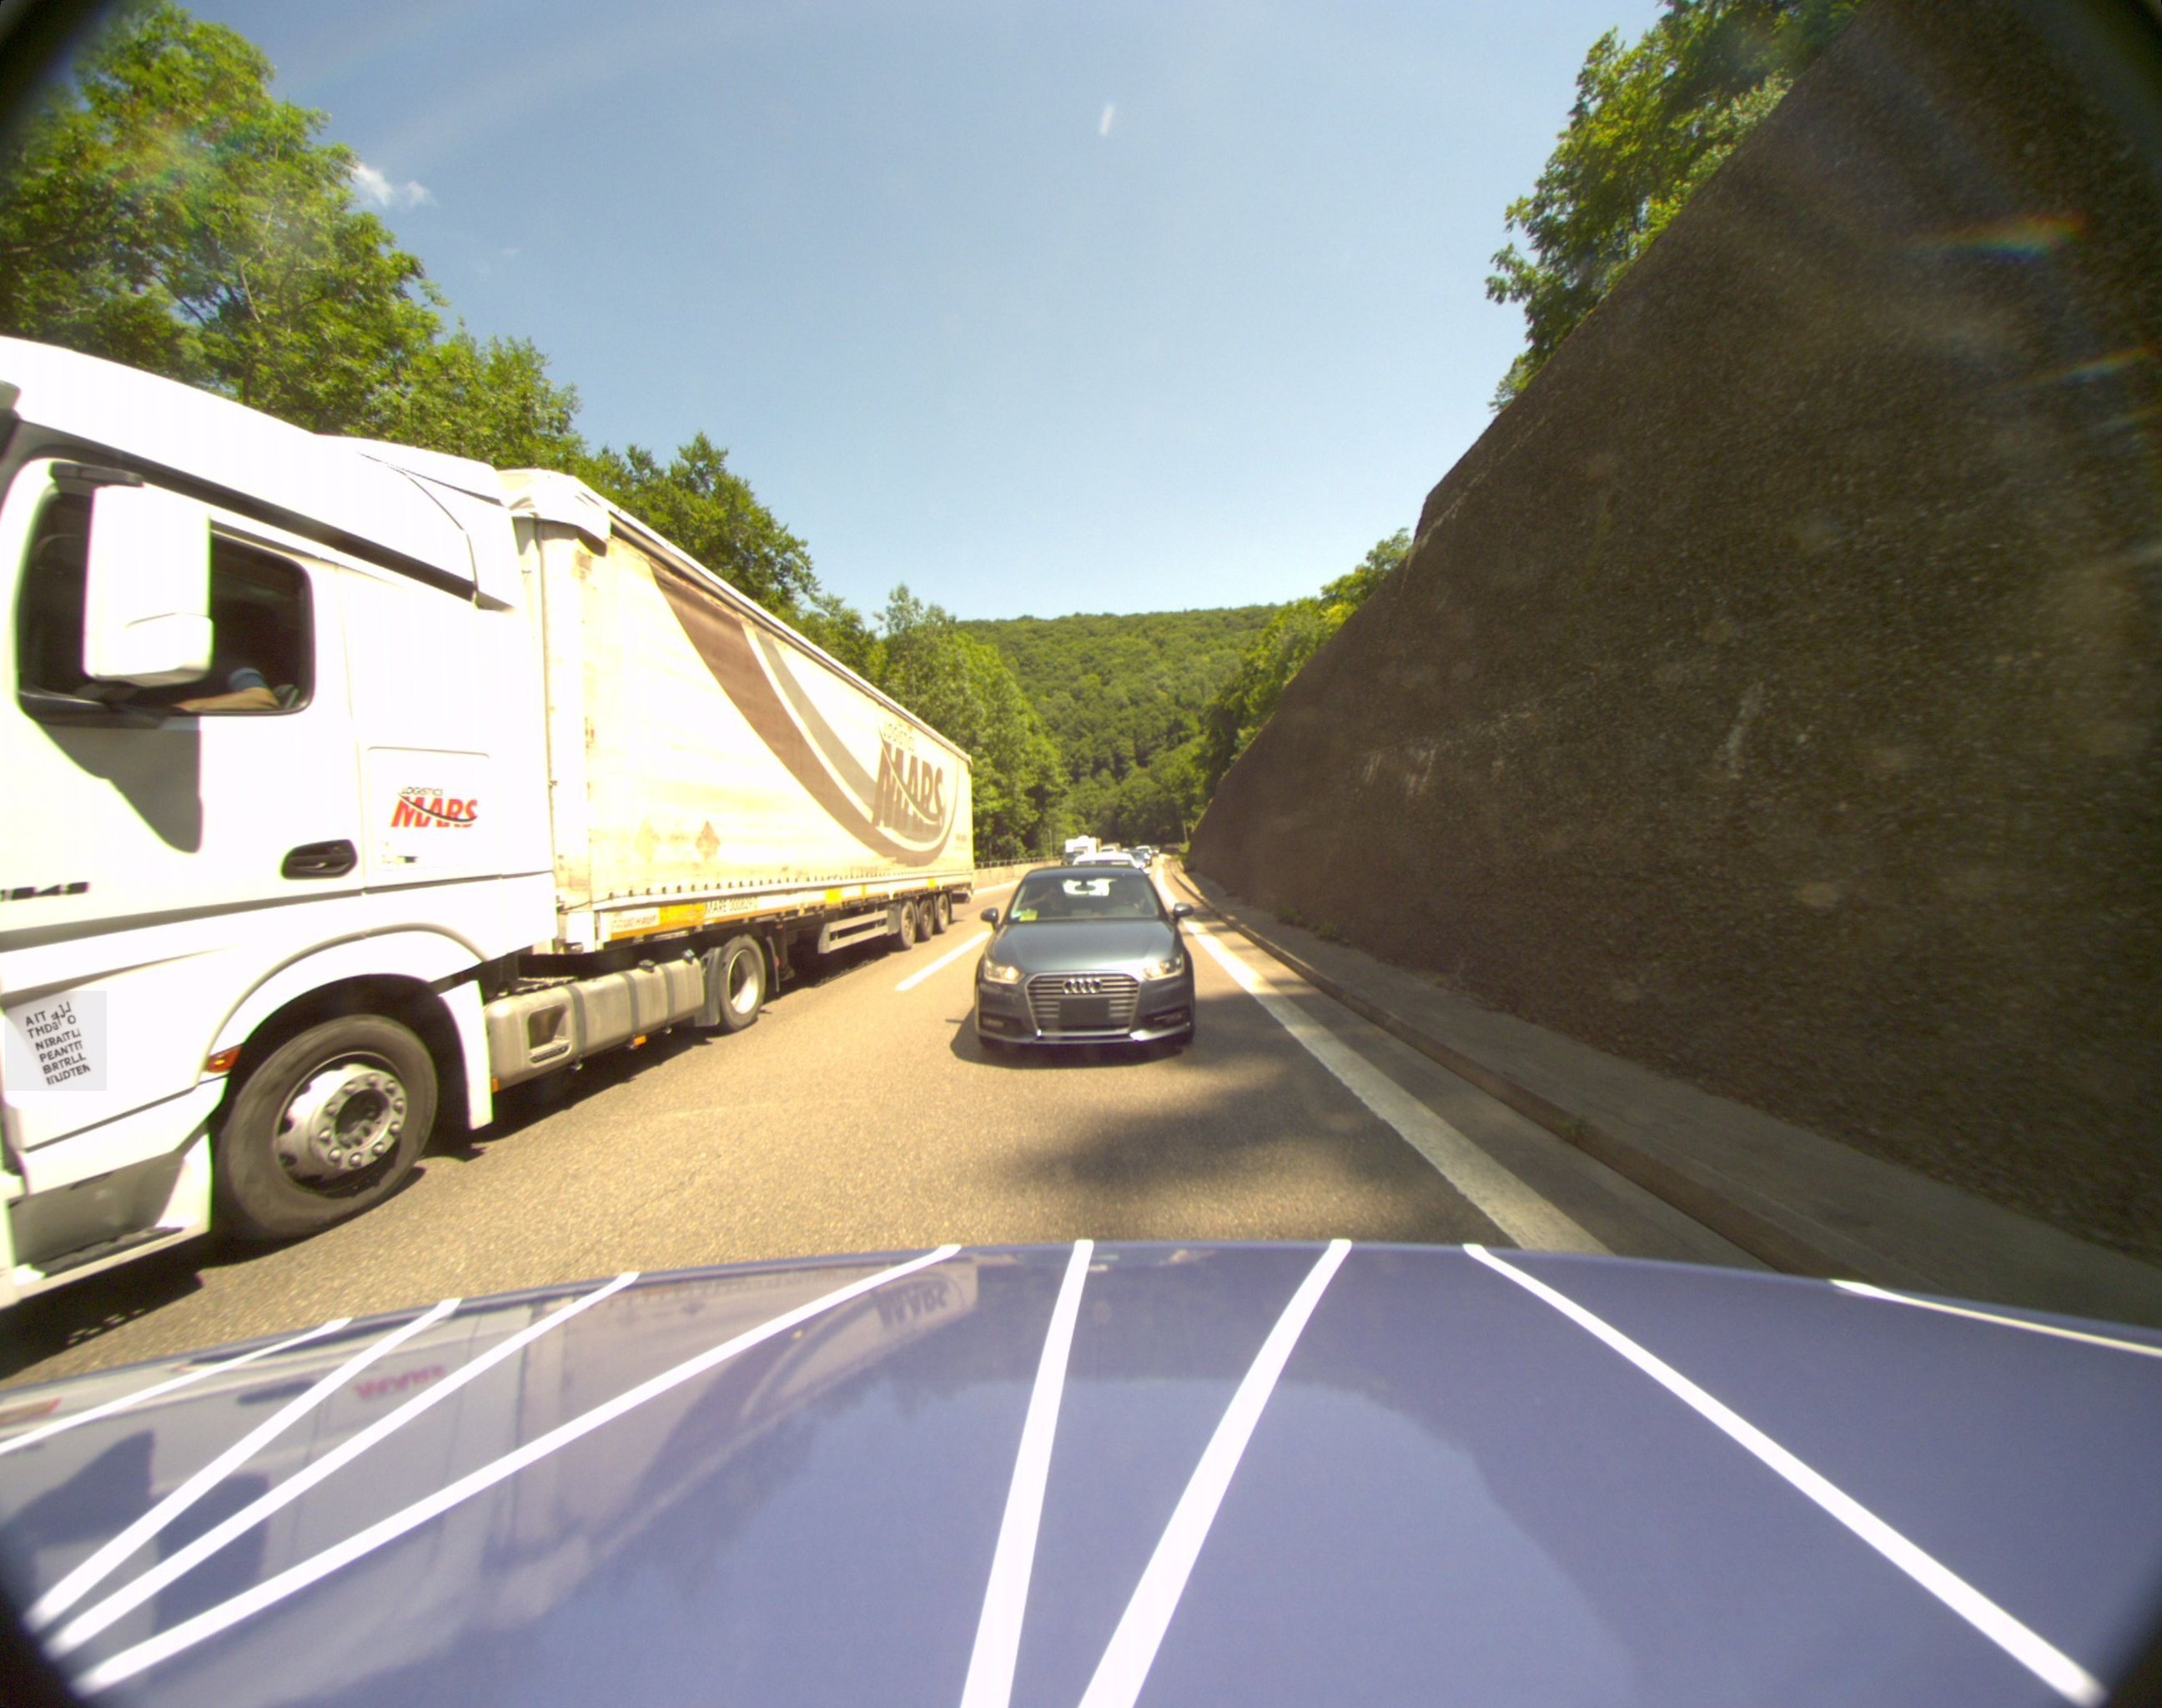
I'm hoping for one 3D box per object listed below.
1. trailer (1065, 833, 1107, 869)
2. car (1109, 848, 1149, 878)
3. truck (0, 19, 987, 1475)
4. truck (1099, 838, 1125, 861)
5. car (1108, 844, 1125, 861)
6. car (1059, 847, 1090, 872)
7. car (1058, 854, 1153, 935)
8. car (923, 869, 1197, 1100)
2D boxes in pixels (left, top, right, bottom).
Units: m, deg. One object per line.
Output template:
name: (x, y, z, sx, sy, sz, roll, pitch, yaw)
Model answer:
trailer: (0.545, -0.265, 63.575, 2.526, 2.694, 9.507, -2, 0, 5)
car: (2.598, 0.453, 40.318, 1.905, 1.430, 3.870, -2, 0, 6)
truck: (-4.203, -0.355, 10.269, 2.968, 4.108, 16.708, -3, 0, 2)
truck: (3.588, -0.524, 86.657, 2.441, 2.395, 6.815, -3, 0, 6)
car: (4.302, -0.194, 93.087, 1.998, 2.002, 4.000, -2, 0, 2)
car: (-0.462, 0.361, 55.327, 1.998, 1.652, 4.000, -3, 0, 2)
car: (0.617, 0.793, 16.606, 1.755, 1.460, 3.983, -2, 0, 4)
car: (0.047, 0.913, 7.050, 1.754, 1.350, 4.123, -2, 1, 5)
